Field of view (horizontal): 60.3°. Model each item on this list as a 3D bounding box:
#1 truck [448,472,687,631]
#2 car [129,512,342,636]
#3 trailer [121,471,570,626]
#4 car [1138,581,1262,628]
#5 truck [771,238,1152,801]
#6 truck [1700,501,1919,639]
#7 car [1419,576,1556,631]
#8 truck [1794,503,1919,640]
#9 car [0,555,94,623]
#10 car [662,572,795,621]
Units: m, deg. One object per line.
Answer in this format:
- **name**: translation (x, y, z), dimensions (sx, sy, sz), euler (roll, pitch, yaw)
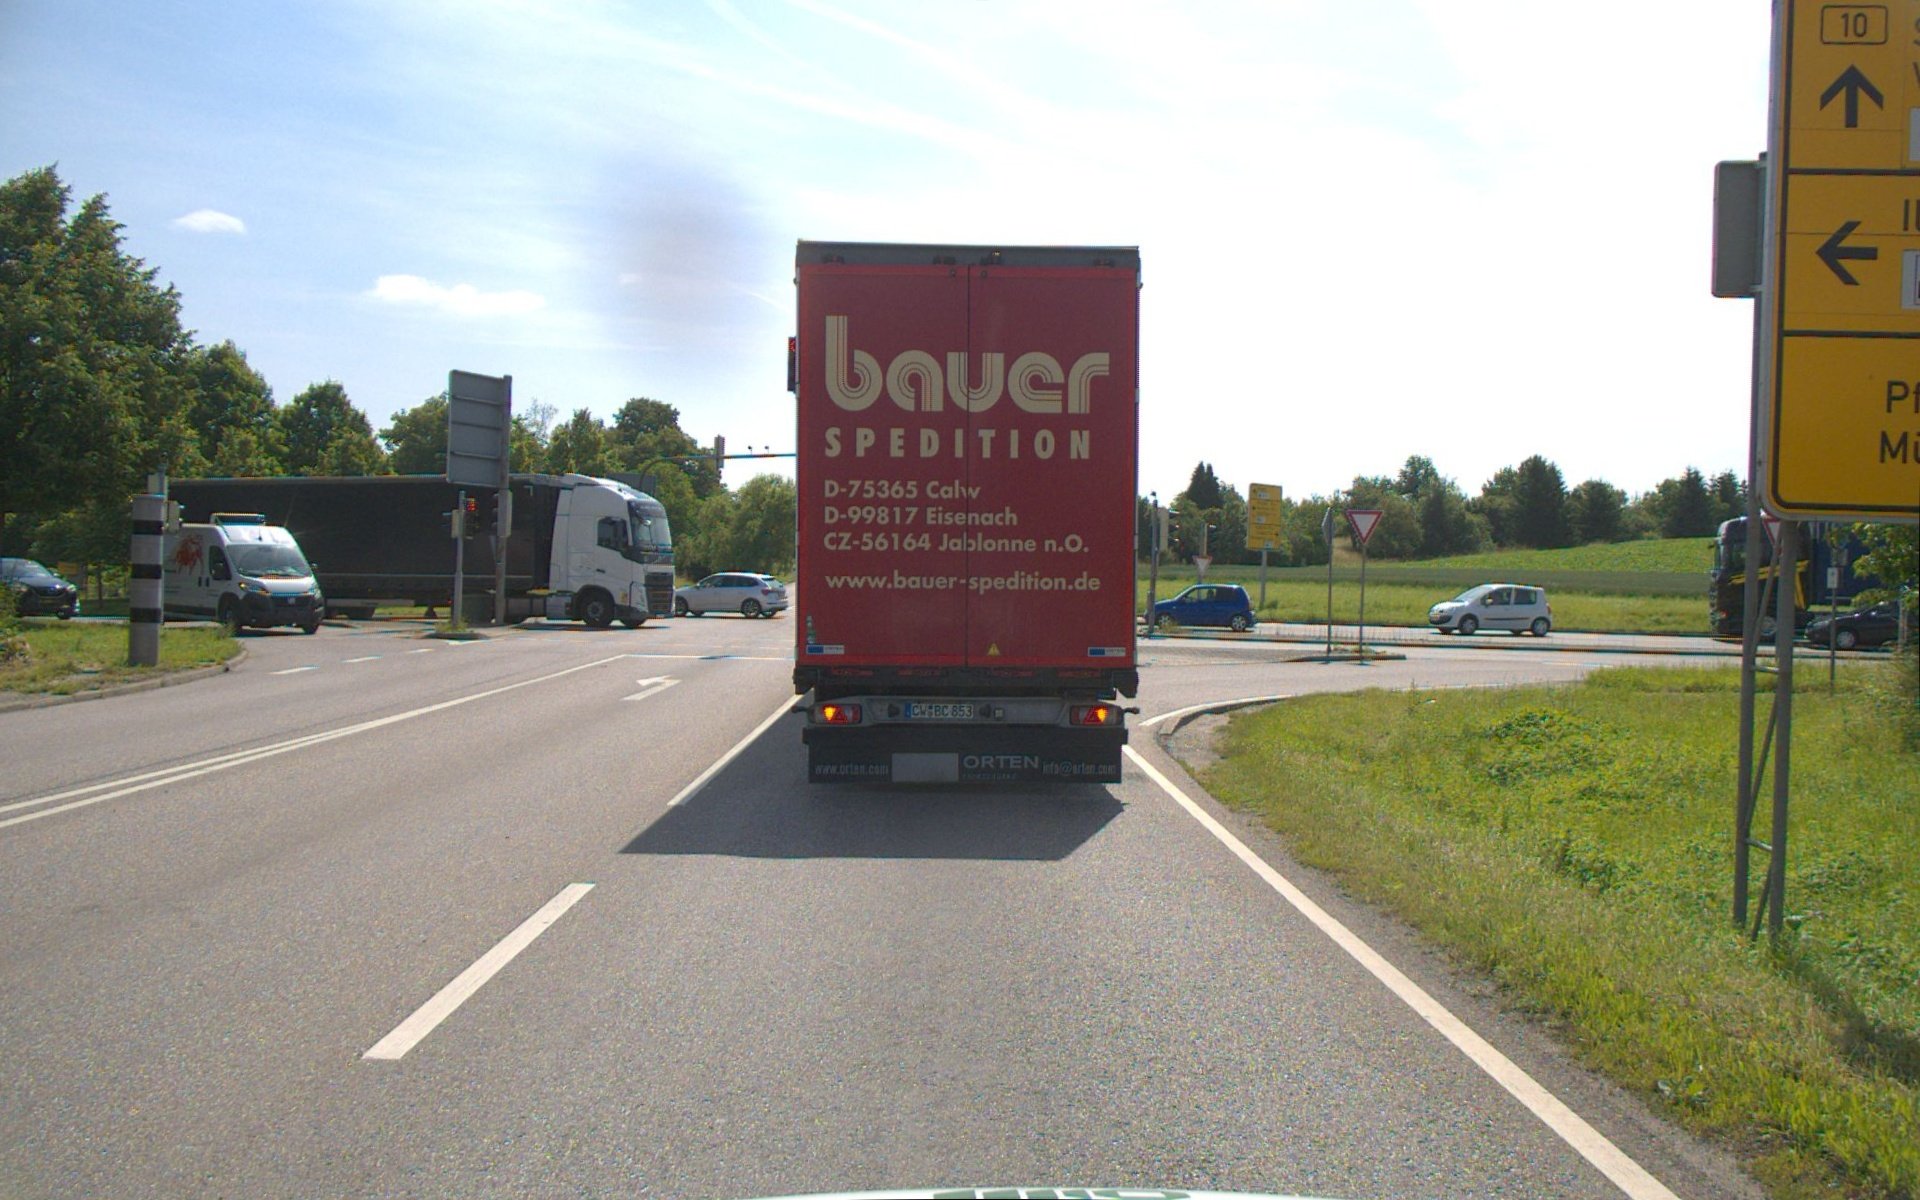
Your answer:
- **truck**: translation (-10.711, -1.345, 45.333), dimensions (5.702, 4.132, 2.800), euler (1, 1, 15)
- **car**: translation (-17.001, -0.663, 38.679), dimensions (5.872, 2.700, 2.115), euler (2, 2, 39)
- **trailer**: translation (-17.833, -1.568, 47.656), dimensions (13.399, 4.132, 2.799), euler (1, 1, 19)
- **car**: translation (7.528, 0.120, 51.871), dimensions (3.766, 1.380, 1.678), euler (1, 0, 10)
- **truck**: translation (-0.079, -0.677, 20.151), dimensions (2.679, 3.993, 16.623), euler (1, 1, -1)
- **truck**: translation (26.787, -0.940, 51.097), dimensions (6.785, 4.063, 3.029), euler (1, 1, 19)
- **car**: translation (16.663, 0.114, 52.333), dimensions (3.754, 1.662, 1.758), euler (0, -1, -8)
- **truck**: translation (32.735, -0.765, 49.010), dimensions (13.986, 4.049, 3.028), euler (1, 1, 20)
- **car**: translation (-25.944, -0.303, 46.004), dimensions (4.033, 1.780, 1.863), euler (1, -1, 40)
- **car**: translation (-7.745, -0.117, 55.484), dimensions (4.011, 1.574, 1.875), euler (0, -1, 12)
